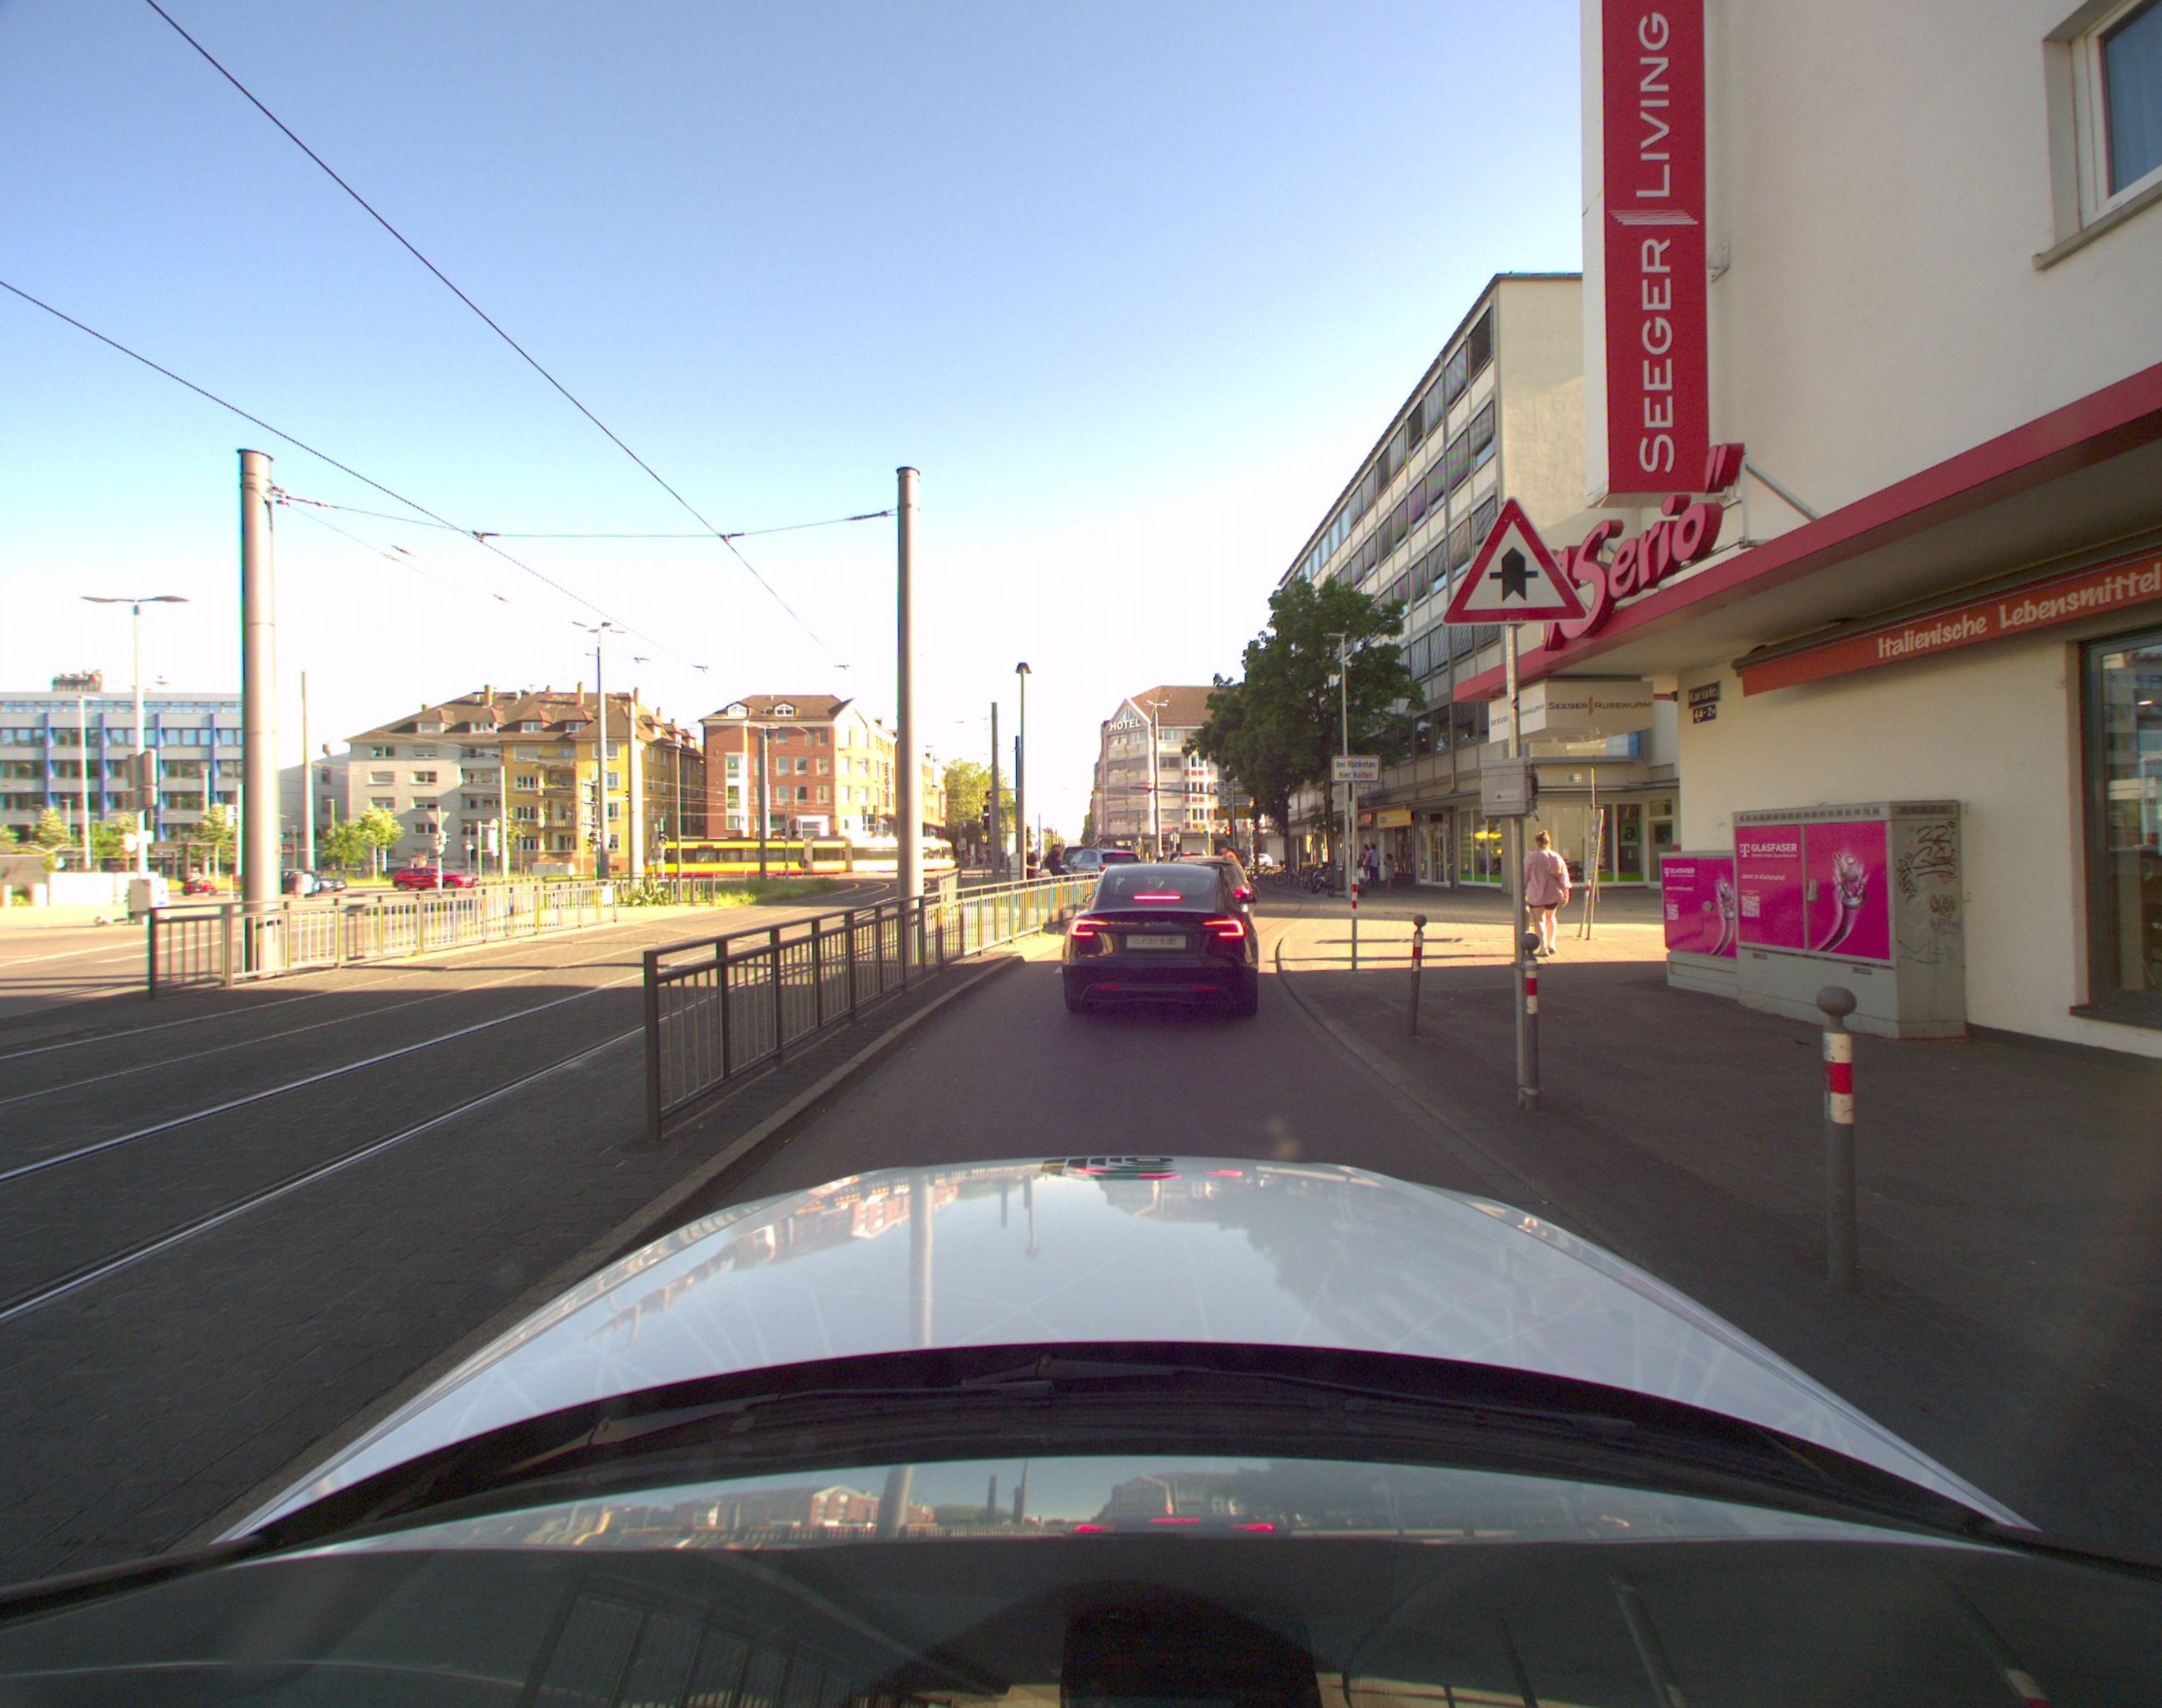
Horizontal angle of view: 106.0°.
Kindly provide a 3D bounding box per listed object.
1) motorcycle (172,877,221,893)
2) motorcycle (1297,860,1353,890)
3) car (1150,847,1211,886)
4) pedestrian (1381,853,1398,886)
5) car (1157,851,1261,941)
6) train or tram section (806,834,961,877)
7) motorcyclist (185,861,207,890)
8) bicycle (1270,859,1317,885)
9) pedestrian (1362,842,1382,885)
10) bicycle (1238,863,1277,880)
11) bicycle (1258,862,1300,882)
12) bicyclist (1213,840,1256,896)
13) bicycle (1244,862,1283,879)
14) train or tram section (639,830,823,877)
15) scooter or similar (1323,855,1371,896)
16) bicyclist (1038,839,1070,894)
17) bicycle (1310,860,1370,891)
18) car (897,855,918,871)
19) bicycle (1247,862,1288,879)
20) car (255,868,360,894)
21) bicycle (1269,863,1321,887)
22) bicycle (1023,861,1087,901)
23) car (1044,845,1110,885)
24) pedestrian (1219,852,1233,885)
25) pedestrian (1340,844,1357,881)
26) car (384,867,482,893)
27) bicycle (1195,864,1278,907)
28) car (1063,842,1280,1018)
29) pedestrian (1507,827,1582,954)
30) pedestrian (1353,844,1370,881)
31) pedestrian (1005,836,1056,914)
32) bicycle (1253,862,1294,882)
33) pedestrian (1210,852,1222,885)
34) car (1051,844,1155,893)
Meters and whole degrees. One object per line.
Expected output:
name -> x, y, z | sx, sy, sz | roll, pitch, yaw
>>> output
motorcycle -> -51.801, 1.830, 47.708 | 1.997, 0.893, 0.559 | 1, -1, -8
motorcycle -> 9.505, 0.810, 31.752 | 1.985, 1.128, 0.596 | 1, -1, -1
car -> 4.096, 0.510, 34.169 | 1.821, 1.519, 3.643 | 1, 0, -5
pedestrian -> 12.143, 0.598, 32.063 | 0.418, 1.280, 0.531 | -1, -1, 2
car -> 2.443, 0.662, 15.239 | 1.643, 1.418, 4.012 | 1, 0, 10
train or tram section -> -18.475, 0.252, 78.083 | 2.612, 3.718, 15.478 | 0, -1, 43
motorcyclist -> -51.857, 1.270, 47.710 | 0.781, 1.708, 0.387 | 1, -1, -8
bicycle -> 9.352, 0.784, 35.872 | 1.917, 1.097, 0.555 | 0, -1, 1
pedestrian -> 11.503, 0.377, 32.196 | 0.593, 1.641, 0.466 | -2, -1, 1
bicycle -> 9.316, 0.904, 43.042 | 1.917, 0.890, 0.526 | 0, -1, 1
bicycle -> 9.445, 0.872, 38.862 | 1.917, 0.950, 0.526 | 0, -1, 1
bicyclist -> 3.990, 0.362, 21.253 | 0.909, 1.438, 0.625 | 1, -1, -14
bicycle -> 9.395, 0.851, 41.952 | 1.917, 0.890, 0.526 | 0, -1, 1
train or tram section -> -29.715, 0.044, 69.794 | 14.222, 3.715, 2.659 | 1, -1, -27
scooter or similar -> 8.932, 0.715, 27.366 | 1.416, 1.317, 0.690 | 0, -2, -25
bicyclist -> -0.758, 0.349, 23.017 | 0.836, 1.500, 0.558 | 1, -1, -8
bicycle -> 9.462, 0.768, 29.760 | 2.044, 1.121, 0.483 | 0, -1, 1
car -> -21.827, 1.148, 102.682 | 1.990, 2.014, 3.993 | 1, 0, -5
bicycle -> 9.384, 0.827, 40.982 | 1.917, 0.888, 0.526 | 0, -1, 1
car -> -46.460, 1.602, 48.988 | 4.145, 1.490, 1.932 | 1, 0, -10
bicycle -> 8.935, 0.876, 33.970 | 2.044, 0.982, 0.483 | 0, -1, 1
bicycle -> -0.742, 0.770, 23.043 | 1.727, 1.088, 0.676 | 1, -1, -8
car -> -0.232, 0.419, 33.617 | 1.826, 1.519, 4.199 | 1, 0, -13
pedestrian -> 7.140, 0.688, 40.113 | 0.627, 1.613, 0.643 | 0, 0, 3
pedestrian -> 11.901, 0.371, 36.192 | 0.529, 1.641, 0.607 | -2, -1, 2
car -> -39.121, 1.561, 49.257 | 4.145, 1.490, 1.932 | 0, 0, -10
bicycle -> 4.050, 0.816, 21.195 | 1.975, 1.072, 0.771 | 1, -1, -13
car -> 0.742, 0.663, 8.813 | 1.843, 1.484, 3.785 | 1, 0, -1
pedestrian -> 6.420, 0.487, 11.310 | 0.810, 1.683, 0.718 | 1, -1, 23
pedestrian -> 12.548, 0.384, 36.419 | 0.529, 1.641, 0.594 | -2, -1, 2
pedestrian -> -1.169, 0.481, 18.793 | 1.009, 1.742, 0.524 | 1, -1, -25
bicycle -> 9.418, 0.877, 39.878 | 1.917, 0.950, 0.526 | 0, -1, 1
pedestrian -> 6.950, 0.723, 42.067 | 0.559, 1.683, 0.751 | 0, 0, 5
car -> 0.630, 0.459, 27.279 | 1.792, 1.519, 4.183 | 1, 0, -25
